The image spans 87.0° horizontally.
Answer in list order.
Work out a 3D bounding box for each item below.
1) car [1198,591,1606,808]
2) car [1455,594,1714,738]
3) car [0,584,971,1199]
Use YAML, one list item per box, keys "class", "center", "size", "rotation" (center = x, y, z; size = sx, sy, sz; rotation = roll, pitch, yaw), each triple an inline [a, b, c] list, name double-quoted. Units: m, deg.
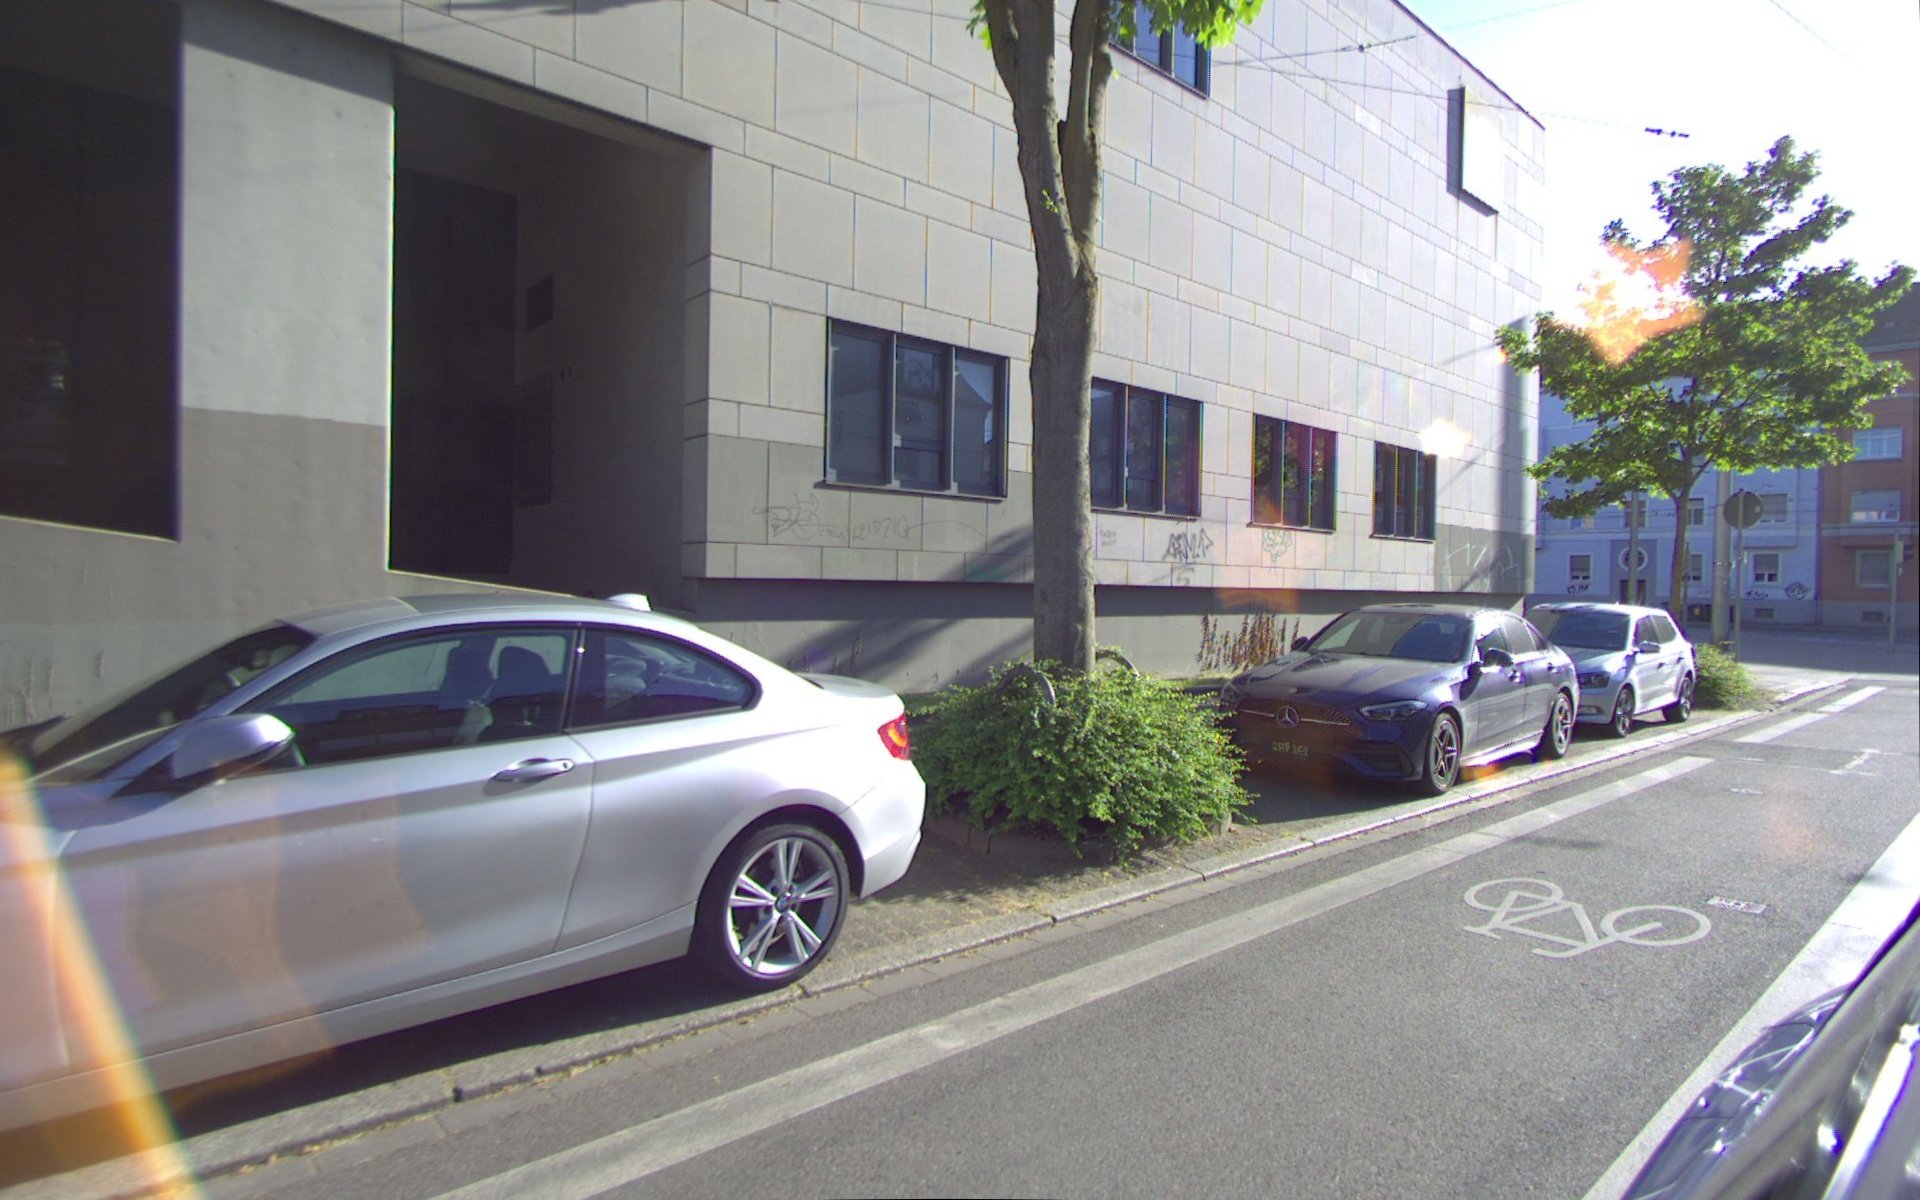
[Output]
- class: "car"
  center: [4.219, 0.678, 9.241]
  size: [4.582, 1.425, 1.680]
  rotation: [-1, 3, -43]
- class: "car"
  center: [7.890, 0.693, 12.652]
  size: [3.930, 1.498, 1.653]
  rotation: [-1, 0, -41]
- class: "car"
  center: [-2.106, 0.664, 3.565]
  size: [4.253, 1.425, 1.711]
  rotation: [-1, 0, -41]
